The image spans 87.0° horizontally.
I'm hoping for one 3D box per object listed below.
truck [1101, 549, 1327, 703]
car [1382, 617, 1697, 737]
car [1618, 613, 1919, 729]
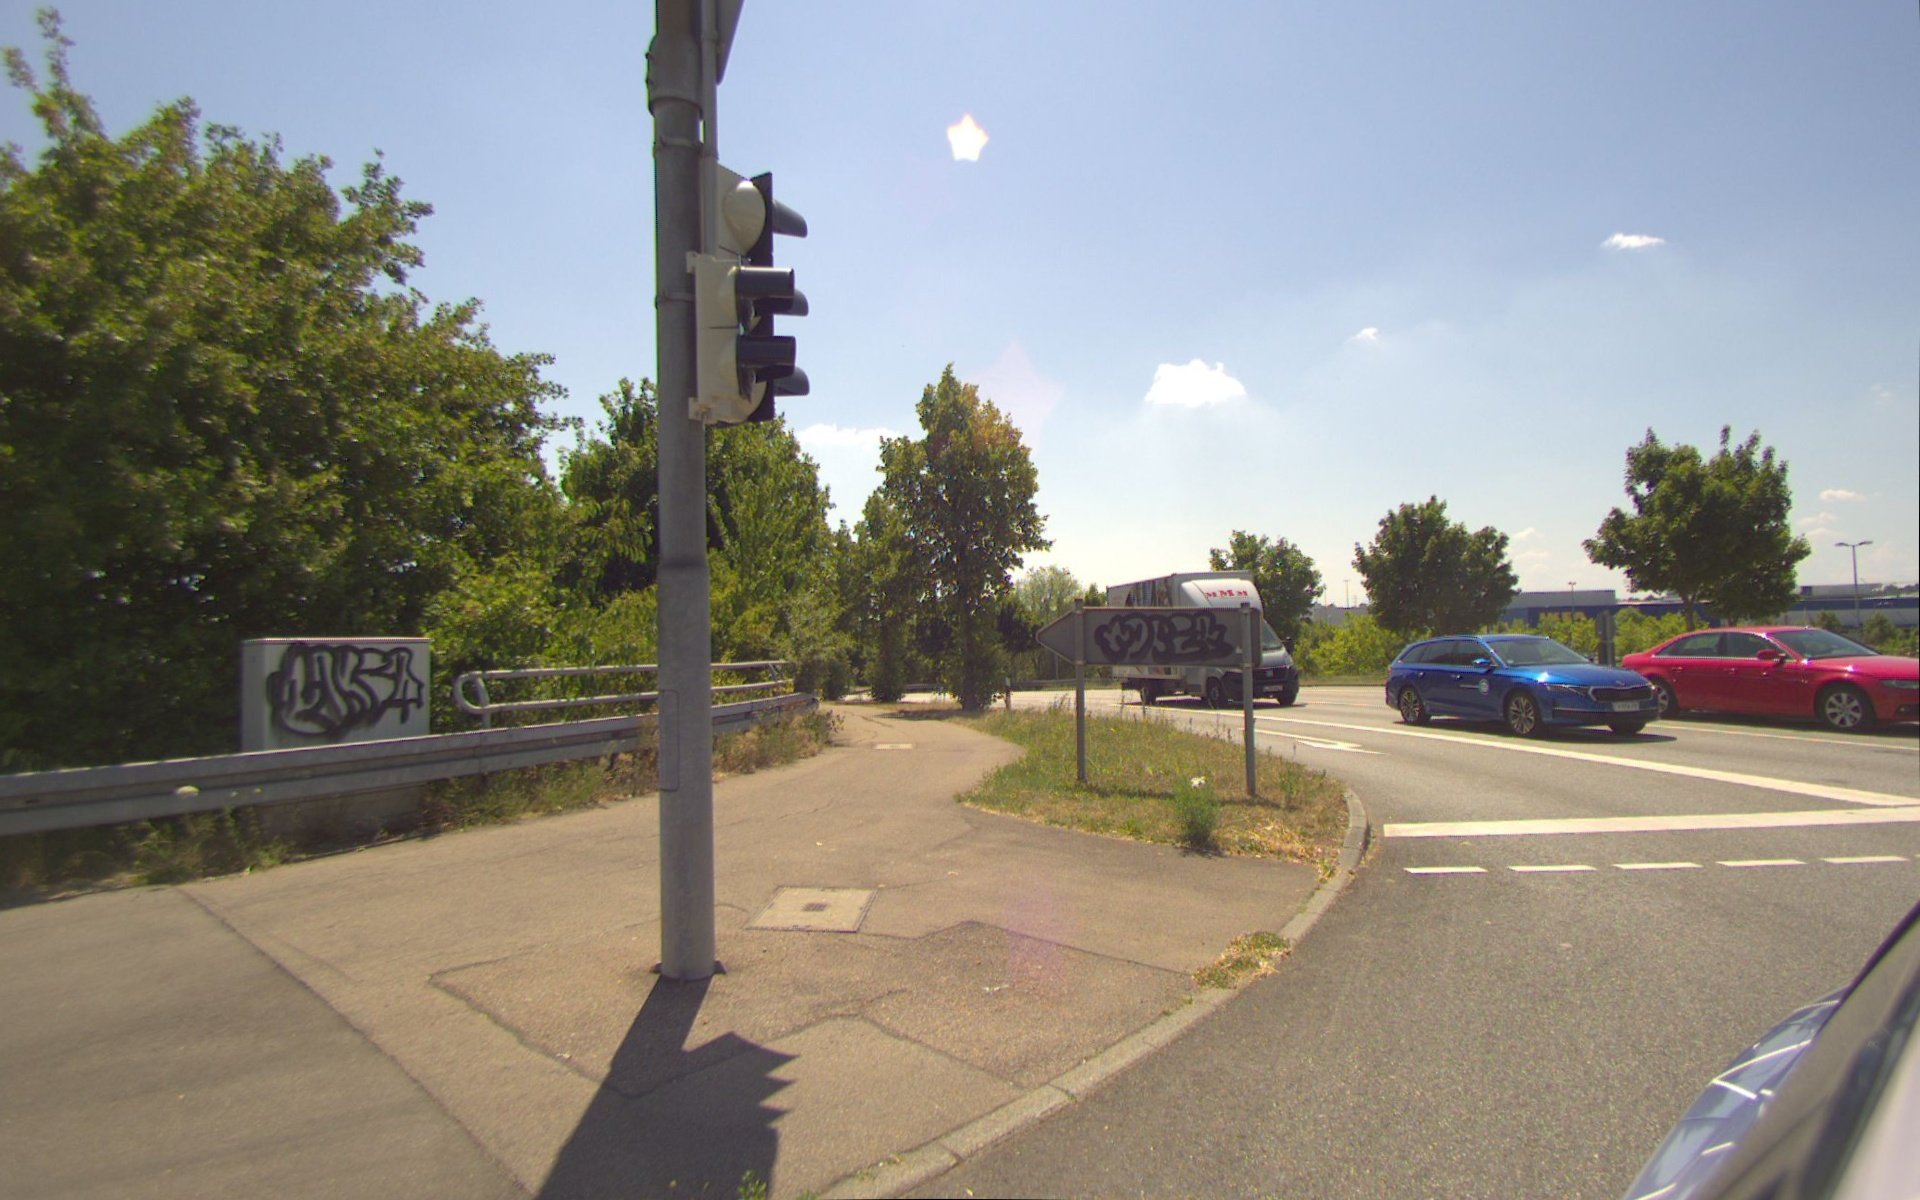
[{"bbox_3d":[6.292,0.853,26.506,2.365,3.392,7.211,-2,-4,-14],"label":"truck"},{"bbox_3d":[8.475,1.102,15.382,1.678,1.481,4.493,-2,-3,-7],"label":"car"},{"bbox_3d":[12.136,0.956,14.655,1.632,1.406,4.455,-2,-3,-11],"label":"car"}]
